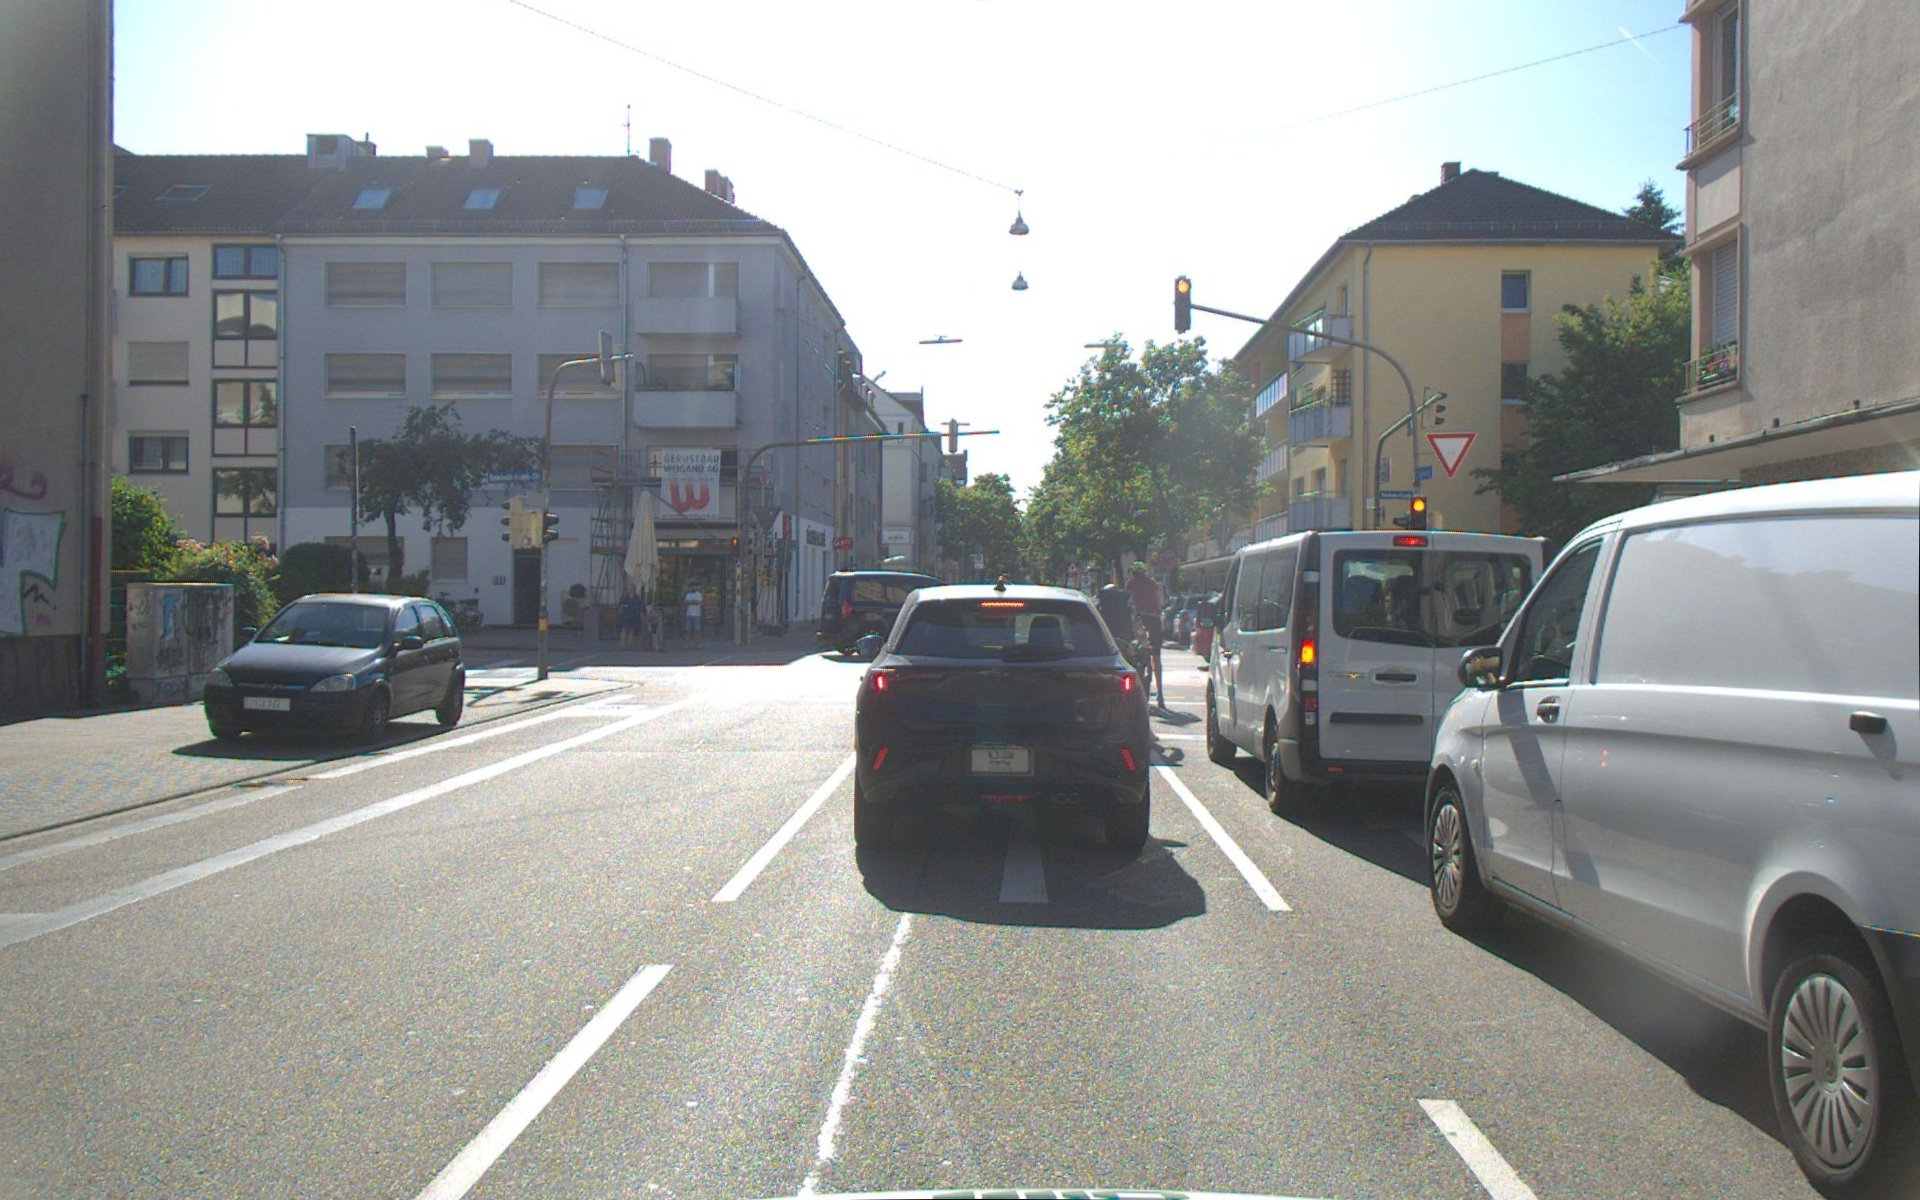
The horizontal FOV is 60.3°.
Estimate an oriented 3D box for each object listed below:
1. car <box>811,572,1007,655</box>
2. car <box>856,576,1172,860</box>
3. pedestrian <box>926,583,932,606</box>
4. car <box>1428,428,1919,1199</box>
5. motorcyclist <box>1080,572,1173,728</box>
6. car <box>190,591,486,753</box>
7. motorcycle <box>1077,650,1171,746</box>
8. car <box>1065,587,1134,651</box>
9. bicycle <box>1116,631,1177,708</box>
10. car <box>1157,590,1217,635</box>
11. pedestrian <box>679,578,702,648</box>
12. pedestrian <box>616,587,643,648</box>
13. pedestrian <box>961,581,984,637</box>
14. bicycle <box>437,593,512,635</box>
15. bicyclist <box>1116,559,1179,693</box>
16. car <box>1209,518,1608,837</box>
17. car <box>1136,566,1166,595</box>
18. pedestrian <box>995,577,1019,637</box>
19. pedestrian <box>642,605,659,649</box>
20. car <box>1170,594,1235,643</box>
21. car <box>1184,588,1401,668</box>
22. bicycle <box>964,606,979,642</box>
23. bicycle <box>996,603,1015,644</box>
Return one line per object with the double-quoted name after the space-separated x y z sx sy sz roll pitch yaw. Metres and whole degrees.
-1.139 0.280 36.749 4.000 1.758 1.897 0 0 -20 "car"
0.299 0.637 11.120 1.734 1.557 4.000 0 0 0 "car"
-2.265 -0.410 120.223 0.393 1.704 0.418 0 0 2 "pedestrian"
3.191 0.557 5.679 1.798 1.901 4.997 2 0 1 "car"
1.681 0.489 16.878 0.846 1.528 1.160 0 0 1 "motorcyclist"
-6.408 0.669 17.472 1.583 1.450 3.711 3 0 1 "car"
1.651 0.972 16.925 0.808 0.860 1.885 0 0 1 "motorcycle"
4.018 0.512 48.139 1.862 1.758 4.001 0 0 2 "car"
2.492 0.911 22.289 0.565 0.920 2.301 0 0 0 "bicycle"
7.718 0.403 56.504 1.600 1.458 4.001 0 0 2 "car"
-7.004 0.345 43.052 0.550 1.806 0.583 0 0 -7 "pedestrian"
-8.473 0.441 42.444 0.572 1.547 0.649 0 0 -1 "pedestrian"
0.359 0.266 48.406 0.666 1.634 0.762 0 0 0 "pedestrian"
-14.143 0.407 48.186 2.065 1.193 0.736 0 0 -22 "bicycle"
2.499 0.334 22.189 0.675 1.742 1.414 0 0 0 "bicyclist"
3.221 0.472 12.971 1.952 2.014 4.897 0 0 2 "car"
13.729 -1.418 119.092 1.816 2.049 3.882 0 0 2 "car"
1.373 0.199 48.342 0.692 1.730 0.802 0 0 0 "pedestrian"
-7.963 0.683 42.513 0.348 1.111 0.462 0 0 -1 "pedestrian"
7.569 0.546 51.916 1.600 1.458 3.957 0 0 2 "car"
6.434 0.529 32.331 3.904 1.489 1.831 0 0 2 "car"
0.336 0.684 48.506 0.434 1.010 2.069 0 0 0 "bicycle"
1.329 0.672 48.400 0.511 1.167 2.170 0 0 0 "bicycle"
